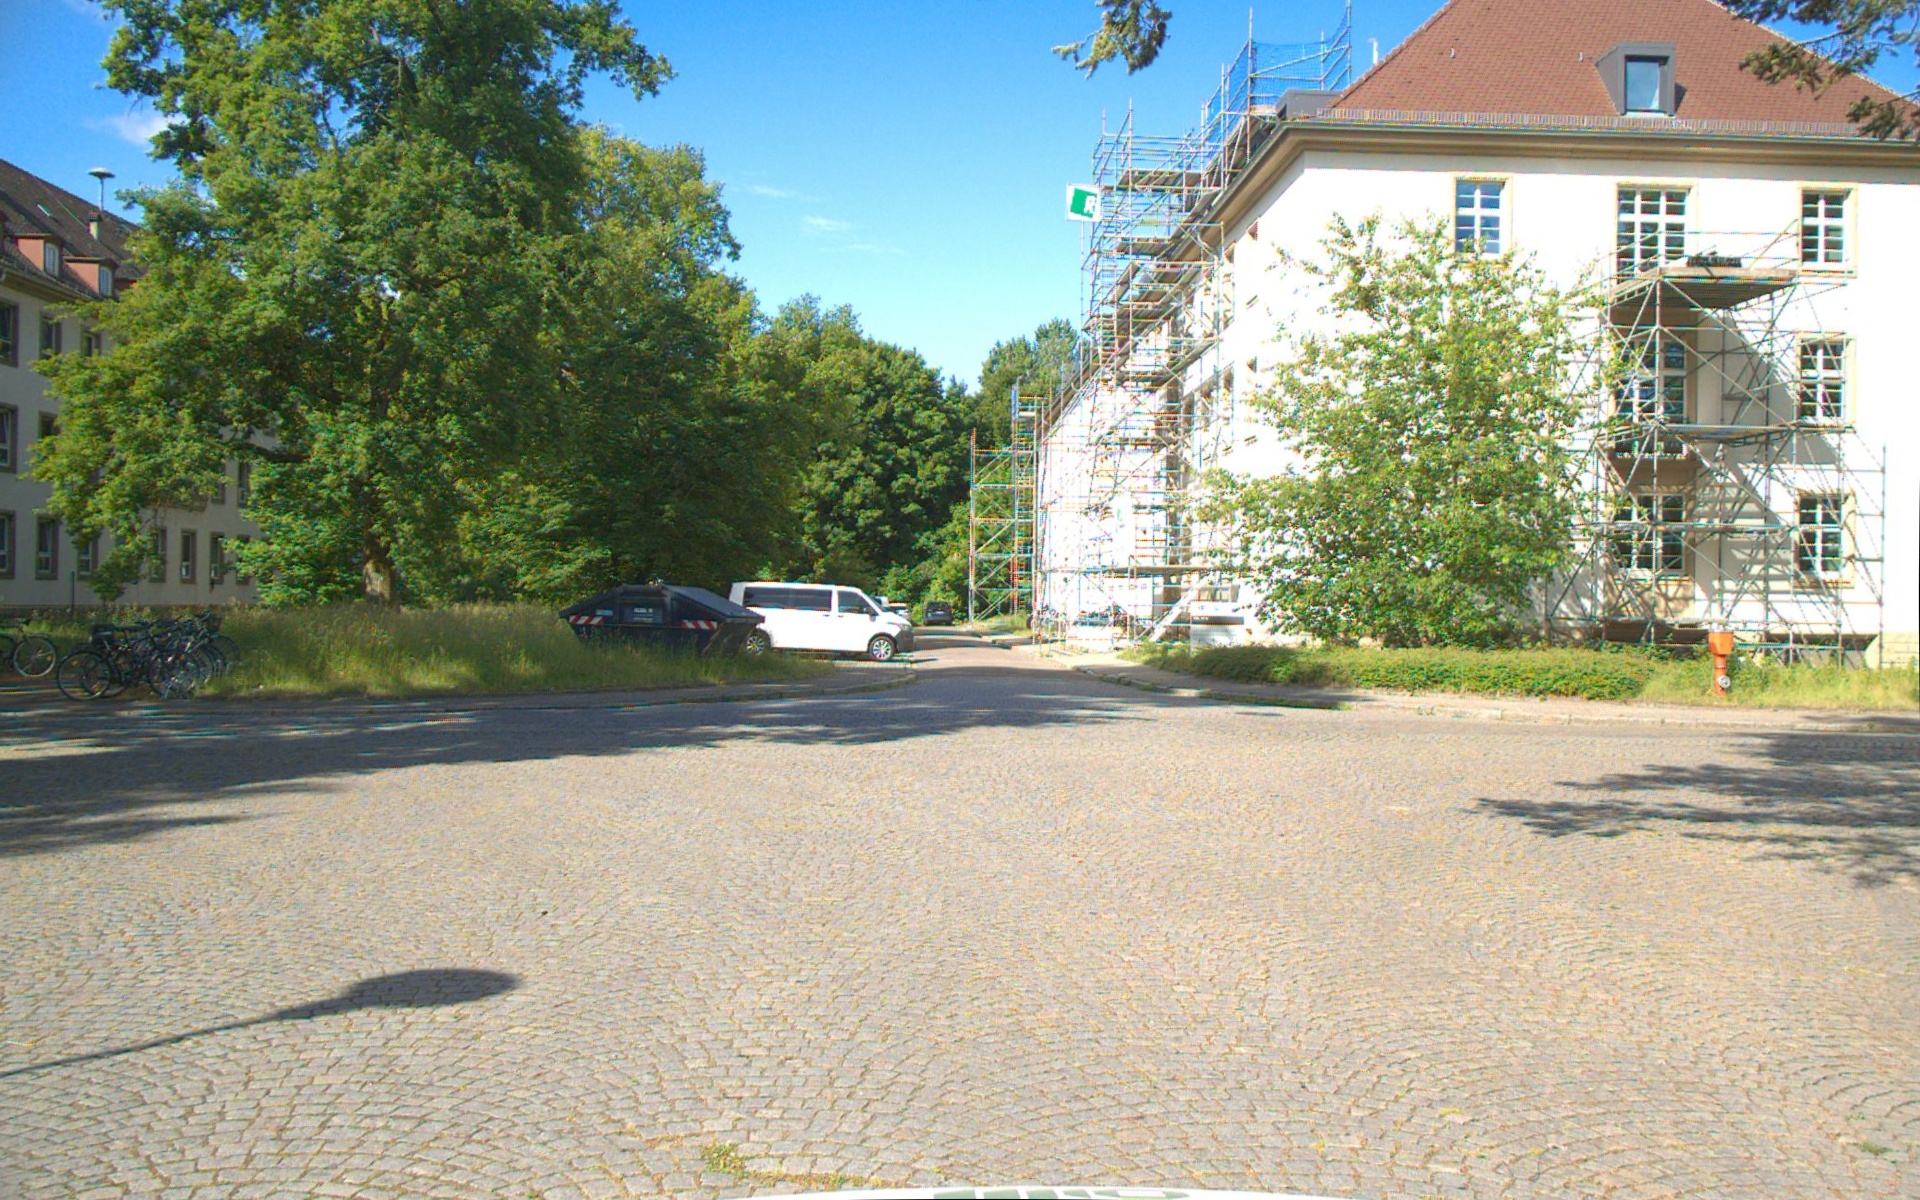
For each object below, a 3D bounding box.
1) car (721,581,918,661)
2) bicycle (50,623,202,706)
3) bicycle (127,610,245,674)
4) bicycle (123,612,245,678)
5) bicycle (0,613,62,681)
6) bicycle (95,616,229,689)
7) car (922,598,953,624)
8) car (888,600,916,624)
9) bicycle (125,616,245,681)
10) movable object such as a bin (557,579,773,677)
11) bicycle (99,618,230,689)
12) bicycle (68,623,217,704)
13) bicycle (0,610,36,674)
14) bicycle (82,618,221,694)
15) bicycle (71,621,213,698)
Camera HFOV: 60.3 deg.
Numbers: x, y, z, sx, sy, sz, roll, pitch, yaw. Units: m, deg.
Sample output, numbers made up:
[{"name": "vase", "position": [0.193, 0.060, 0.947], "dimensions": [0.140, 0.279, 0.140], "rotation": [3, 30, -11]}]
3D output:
[{"name": "car", "position": [-3.722, 0.555, 44.445], "dimensions": [5.130, 2.051, 1.949], "rotation": [1, 0, -3]}, {"name": "bicycle", "position": [-11.879, 0.899, 23.584], "dimensions": [1.894, 1.076, 0.471], "rotation": [-2, 1, -32]}, {"name": "bicycle", "position": [-13.959, 0.744, 29.866], "dimensions": [1.888, 1.076, 0.472], "rotation": [-2, 1, -24]}, {"name": "bicycle", "position": [-13.581, 0.777, 28.980], "dimensions": [1.888, 1.076, 0.472], "rotation": [-2, 1, -24]}, {"name": "bicycle", "position": [-16.379, 0.790, 28.118], "dimensions": [1.886, 1.122, 0.567], "rotation": [1, 1, -22]}, {"name": "bicycle", "position": [-12.739, 0.830, 26.443], "dimensions": [1.889, 1.076, 0.472], "rotation": [-2, 1, -26]}, {"name": "car", "position": [-1.532, 0.737, 110.916], "dimensions": [1.931, 1.697, 4.083], "rotation": [0, 0, -3]}, {"name": "car", "position": [-3.873, 0.784, 110.497], "dimensions": [1.776, 1.607, 4.132], "rotation": [0, 0, -3]}, {"name": "bicycle", "position": [-13.779, 0.847, 29.437], "dimensions": [1.888, 1.076, 0.472], "rotation": [-2, 1, -24]}, {"name": "movable object such as a bin", "position": [-5.545, 0.511, 31.248], "dimensions": [3.490, 1.775, 2.026], "rotation": [0, 0, 16]}, {"name": "bicycle", "position": [-13.076, 0.870, 27.239], "dimensions": [1.888, 1.076, 0.472], "rotation": [-2, 1, -24]}, {"name": "bicycle", "position": [-11.918, 0.916, 24.138], "dimensions": [1.894, 1.076, 0.471], "rotation": [-2, 1, -32]}, {"name": "bicycle", "position": [-17.597, 0.747, 29.518], "dimensions": [1.890, 1.122, 0.565], "rotation": [1, 1, -27]}, {"name": "bicycle", "position": [-12.523, 0.852, 25.663], "dimensions": [1.889, 1.076, 0.472], "rotation": [-2, 1, -26]}, {"name": "bicycle", "position": [-12.391, 0.893, 25.106], "dimensions": [1.889, 1.076, 0.472], "rotation": [-2, 1, -26]}]
